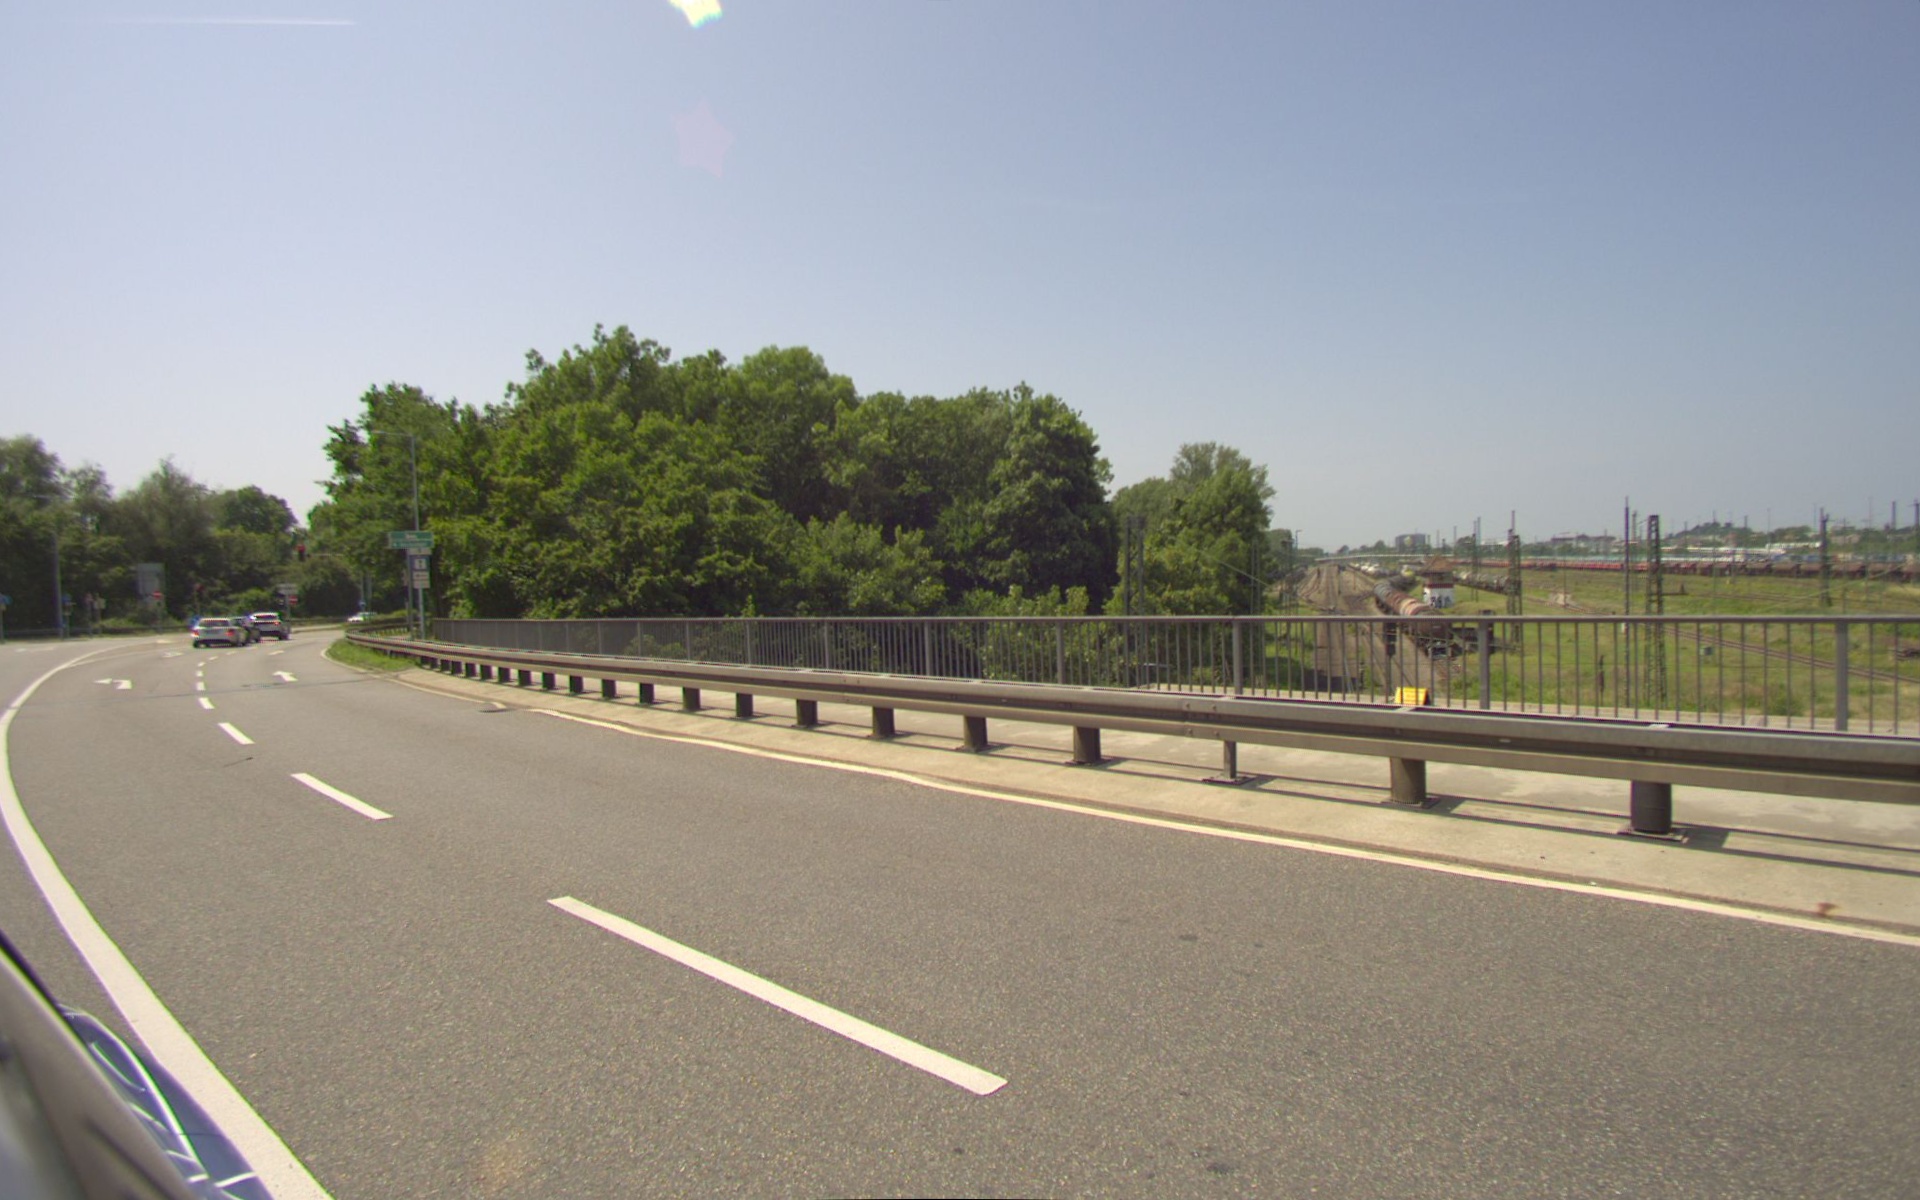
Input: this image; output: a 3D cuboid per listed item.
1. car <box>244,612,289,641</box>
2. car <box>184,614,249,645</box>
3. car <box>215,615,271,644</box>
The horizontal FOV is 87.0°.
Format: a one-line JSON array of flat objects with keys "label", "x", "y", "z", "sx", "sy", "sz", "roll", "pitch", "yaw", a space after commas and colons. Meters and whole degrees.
[{"label": "car", "x": -41.945, "y": 1.588, "z": 61.276, "sx": 1.802, "sy": 1.651, "sz": 4.593, "roll": 0, "pitch": 0, "yaw": -29}, {"label": "car", "x": -36.007, "y": 1.375, "z": 49.134, "sx": 1.802, "sy": 1.417, "sz": 4.903, "roll": 0, "pitch": -1, "yaw": -27}, {"label": "car", "x": -38.721, "y": 1.562, "z": 54.747, "sx": 1.802, "sy": 1.417, "sz": 4.561, "roll": -1, "pitch": 0, "yaw": -27}]
